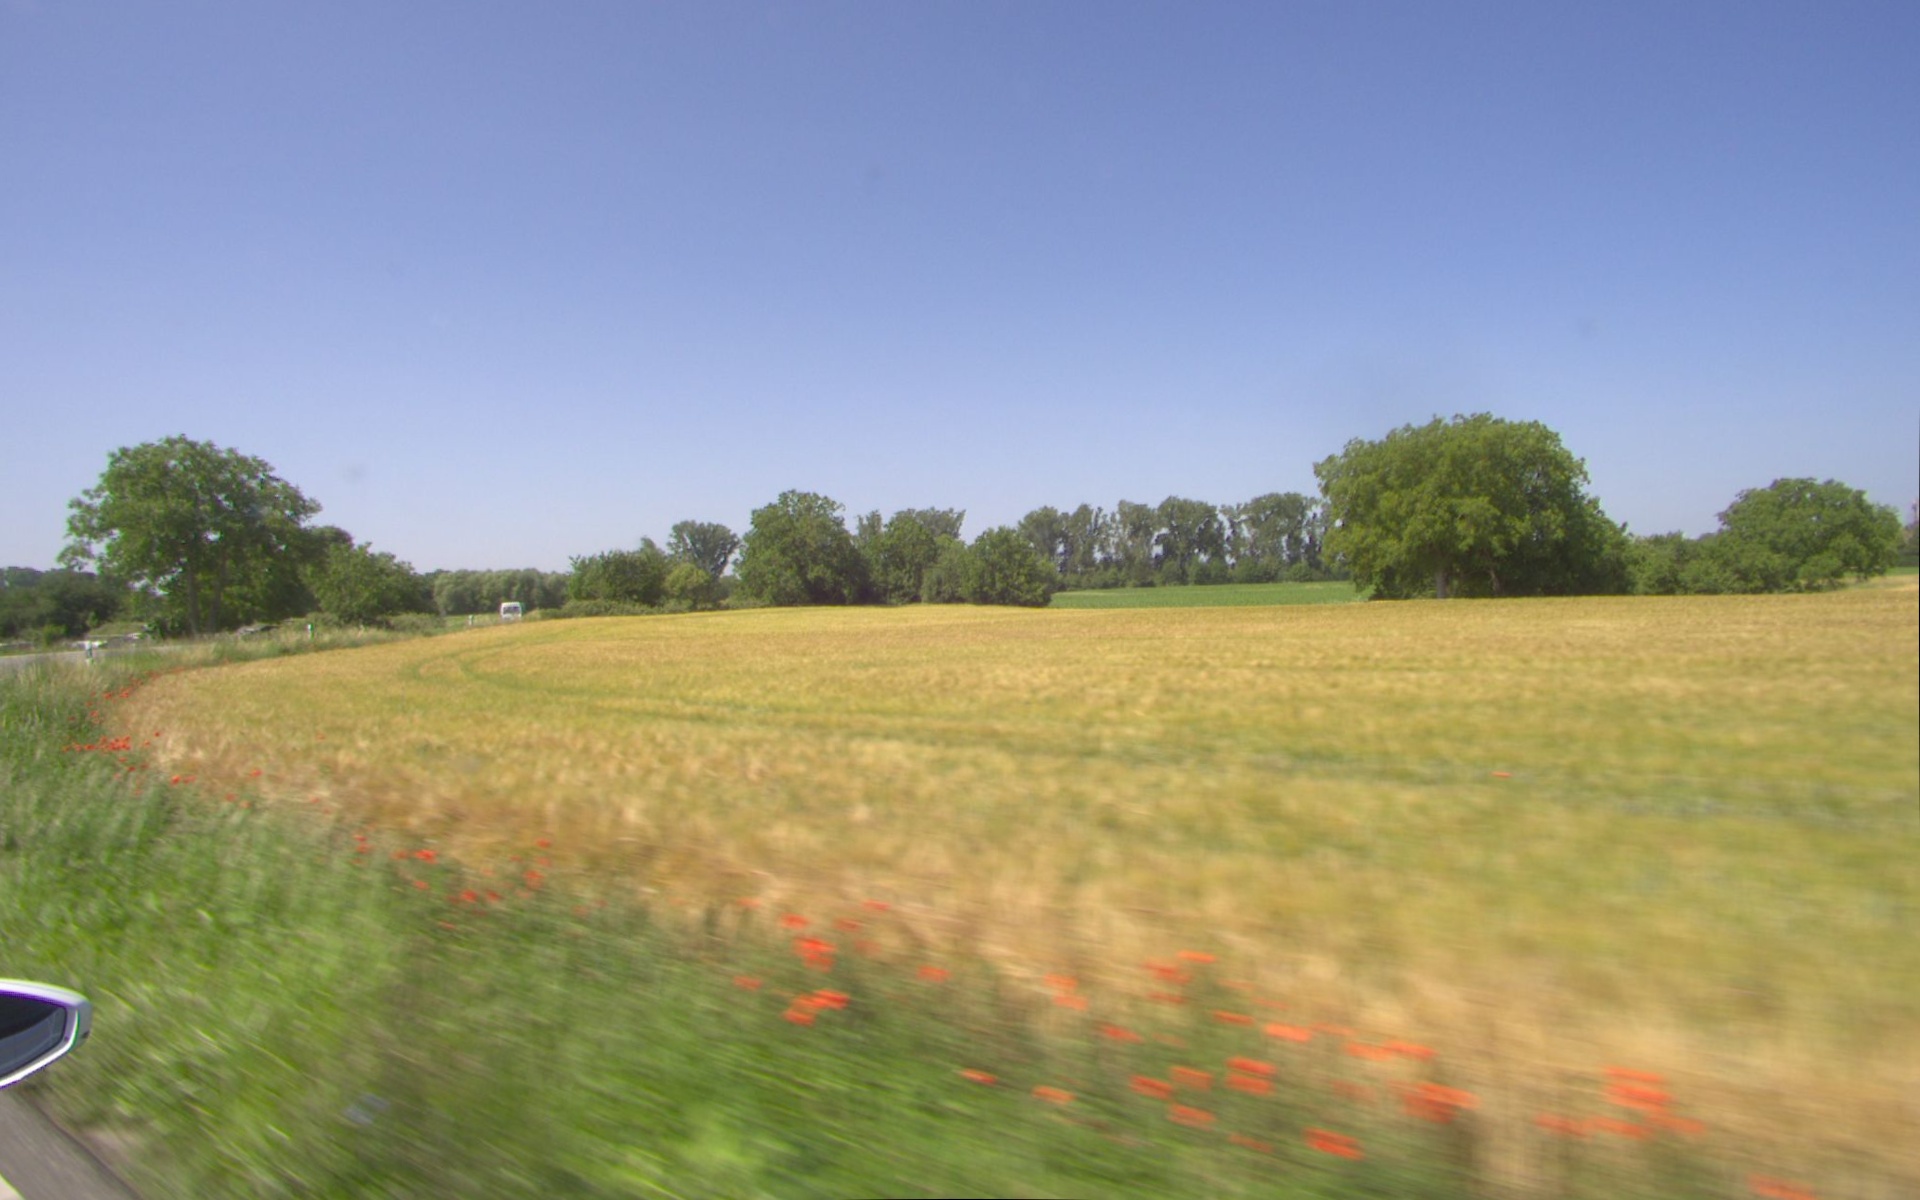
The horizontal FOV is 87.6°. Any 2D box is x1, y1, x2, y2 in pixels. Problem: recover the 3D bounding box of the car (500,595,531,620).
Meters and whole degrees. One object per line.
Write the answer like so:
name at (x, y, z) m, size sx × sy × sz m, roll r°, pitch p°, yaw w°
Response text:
car at (-45.544, 0.773, 102.628) m, size 2.073 × 2.399 × 5.675 m, roll -2°, pitch 1°, yaw -17°
